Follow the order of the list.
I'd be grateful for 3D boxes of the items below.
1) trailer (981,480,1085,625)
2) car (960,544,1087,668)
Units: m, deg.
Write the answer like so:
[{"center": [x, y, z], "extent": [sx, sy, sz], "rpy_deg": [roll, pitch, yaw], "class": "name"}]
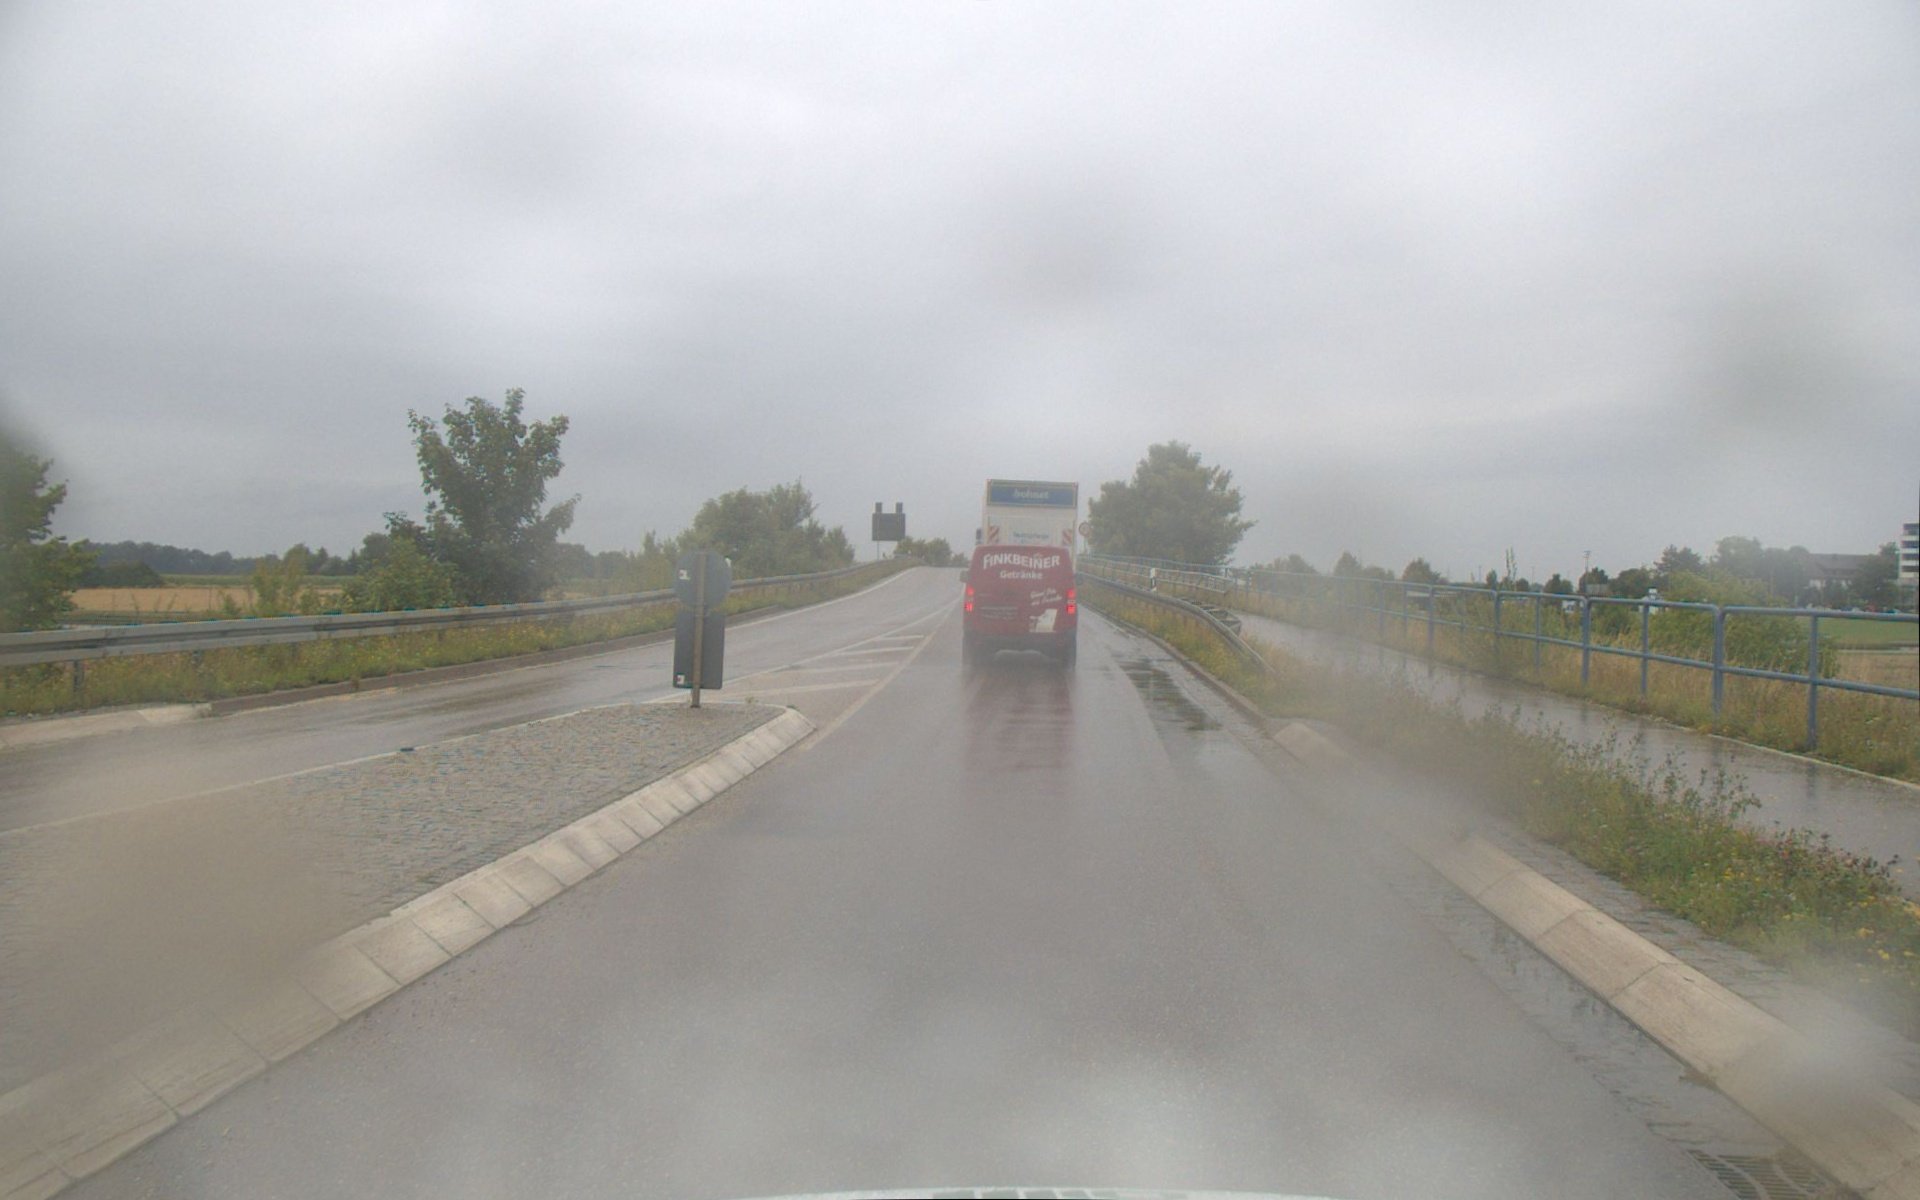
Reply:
[{"center": [2.130, -1.366, 49.482], "extent": [2.773, 3.885, 9.718], "rpy_deg": [1, 1, 2], "class": "trailer"}, {"center": [1.135, 0.020, 27.854], "extent": [1.952, 1.903, 4.982], "rpy_deg": [0, 2, 4], "class": "car"}]
